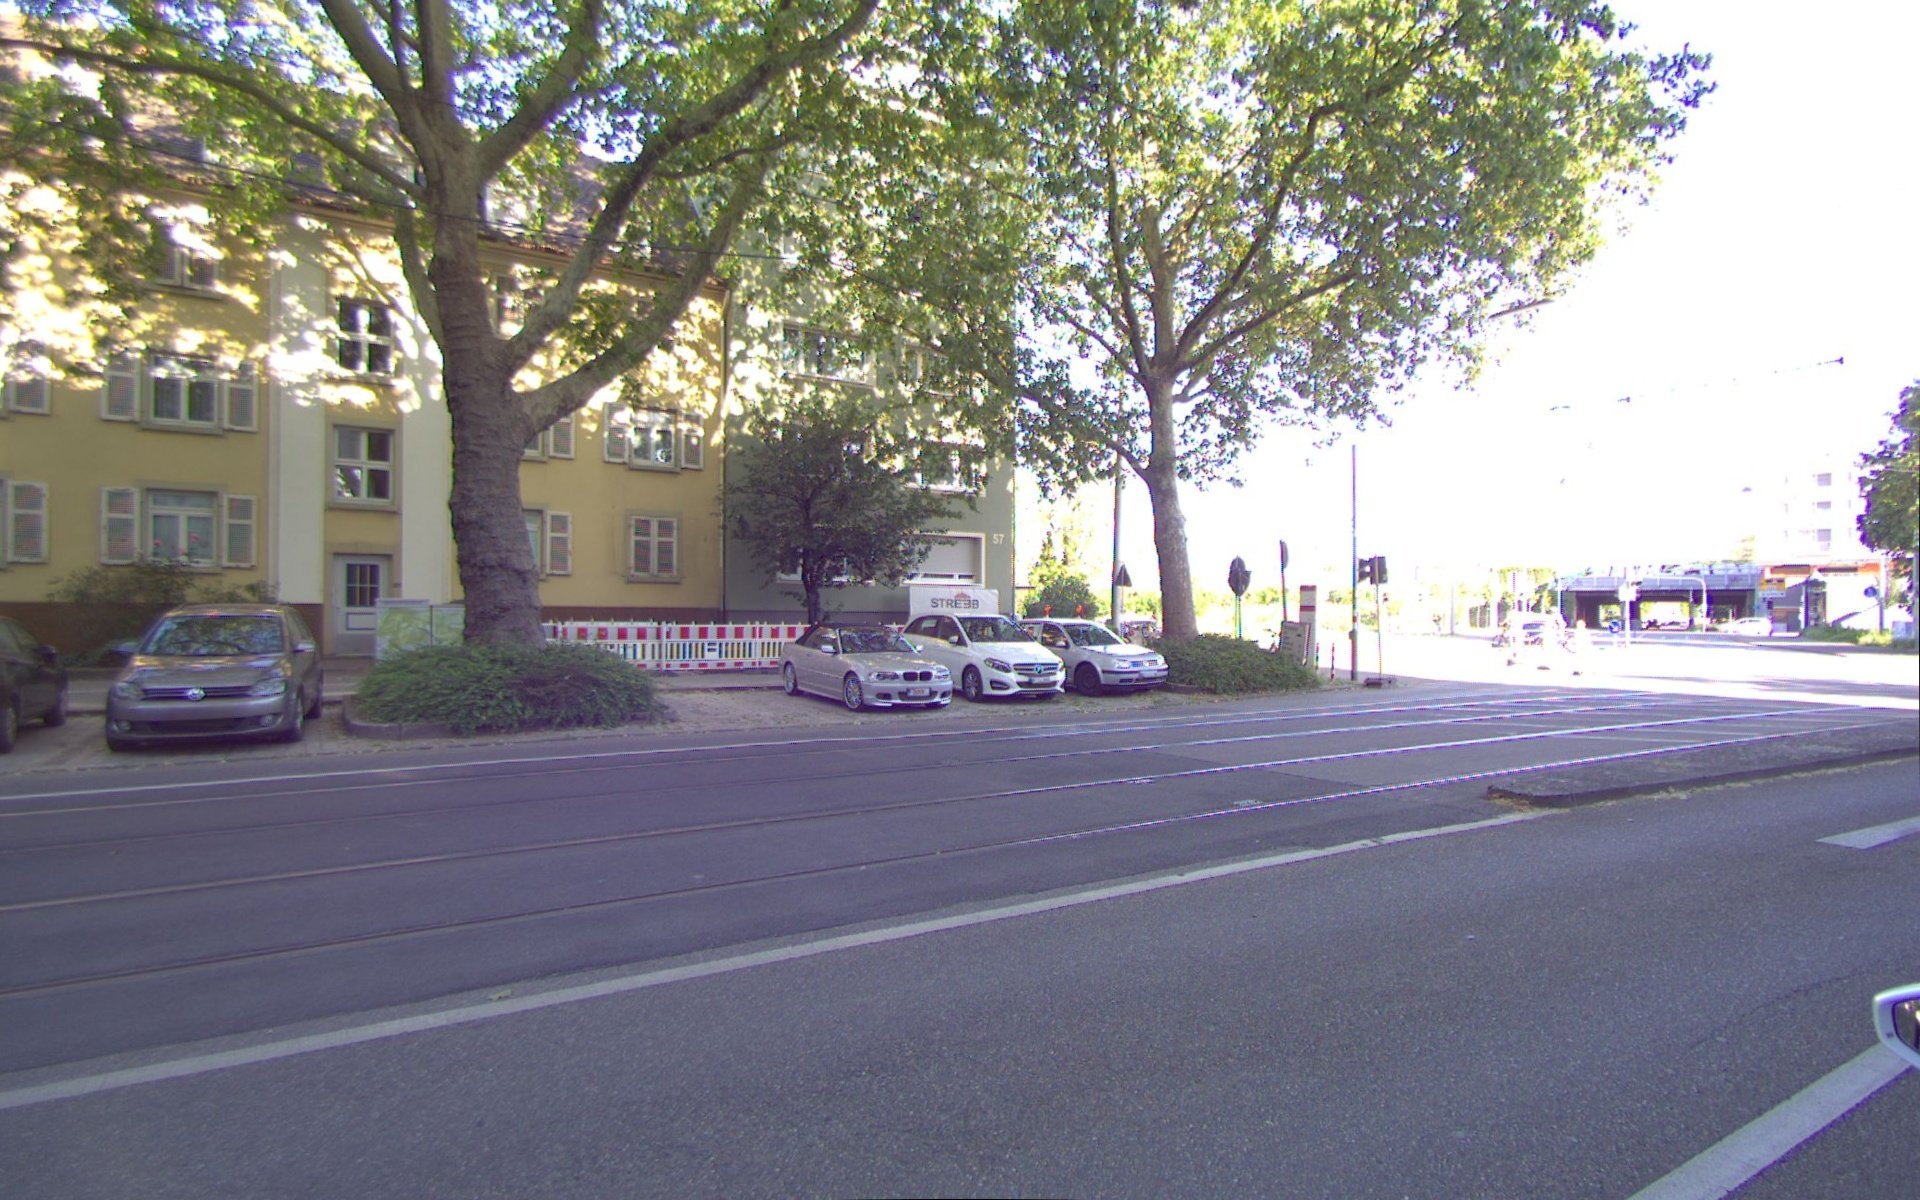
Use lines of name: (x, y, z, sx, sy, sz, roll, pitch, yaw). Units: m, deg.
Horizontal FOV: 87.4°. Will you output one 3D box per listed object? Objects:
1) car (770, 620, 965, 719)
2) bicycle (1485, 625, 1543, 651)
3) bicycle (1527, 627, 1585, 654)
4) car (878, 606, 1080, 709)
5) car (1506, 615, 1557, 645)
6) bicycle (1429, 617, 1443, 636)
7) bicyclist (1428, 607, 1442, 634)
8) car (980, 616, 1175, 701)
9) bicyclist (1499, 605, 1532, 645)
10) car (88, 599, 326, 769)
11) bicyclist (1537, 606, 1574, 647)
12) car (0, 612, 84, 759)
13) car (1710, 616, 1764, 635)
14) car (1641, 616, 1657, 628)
car: (-1.735, 1.093, 17.435, 1.708, 1.386, 4.219, 1, 0, -31)
bicycle: (24.337, 1.650, 44.199, 0.788, 1.098, 2.290, 1, -1, -19)
bicycle: (23.788, 1.603, 40.117, 0.662, 0.997, 2.057, 1, -1, -18)
car: (0.216, 0.993, 19.479, 1.777, 1.640, 4.587, 1, 1, -30)
car: (32.426, 1.690, 56.939, 1.803, 1.539, 3.876, 2, 0, 40)
bicycle: (28.343, 1.563, 59.829, 0.573, 1.075, 2.038, 0, -1, 31)
bicyclist: (28.291, 1.203, 59.823, 0.626, 1.584, 0.831, 0, -1, 32)
car: (2.295, 1.109, 20.824, 1.656, 1.448, 4.490, 1, 0, -30)
bicyclist: (24.384, 1.113, 44.101, 0.862, 1.730, 0.925, 1, -1, -20)
car: (-9.042, 0.858, 12.426, 1.793, 1.627, 4.169, 1, 1, -29)
bicyclist: (23.784, 1.051, 40.124, 0.786, 1.591, 1.009, 1, -1, -18)
car: (-11.399, 0.878, 11.297, 1.723, 1.448, 3.545, 1, 0, -31)
car: (76.729, 2.496, 99.247, 4.117, 1.829, 1.732, 0, -1, 33)
car: (113.038, 3.603, 164.774, 2.183, 1.847, 4.134, 0, -1, 34)
